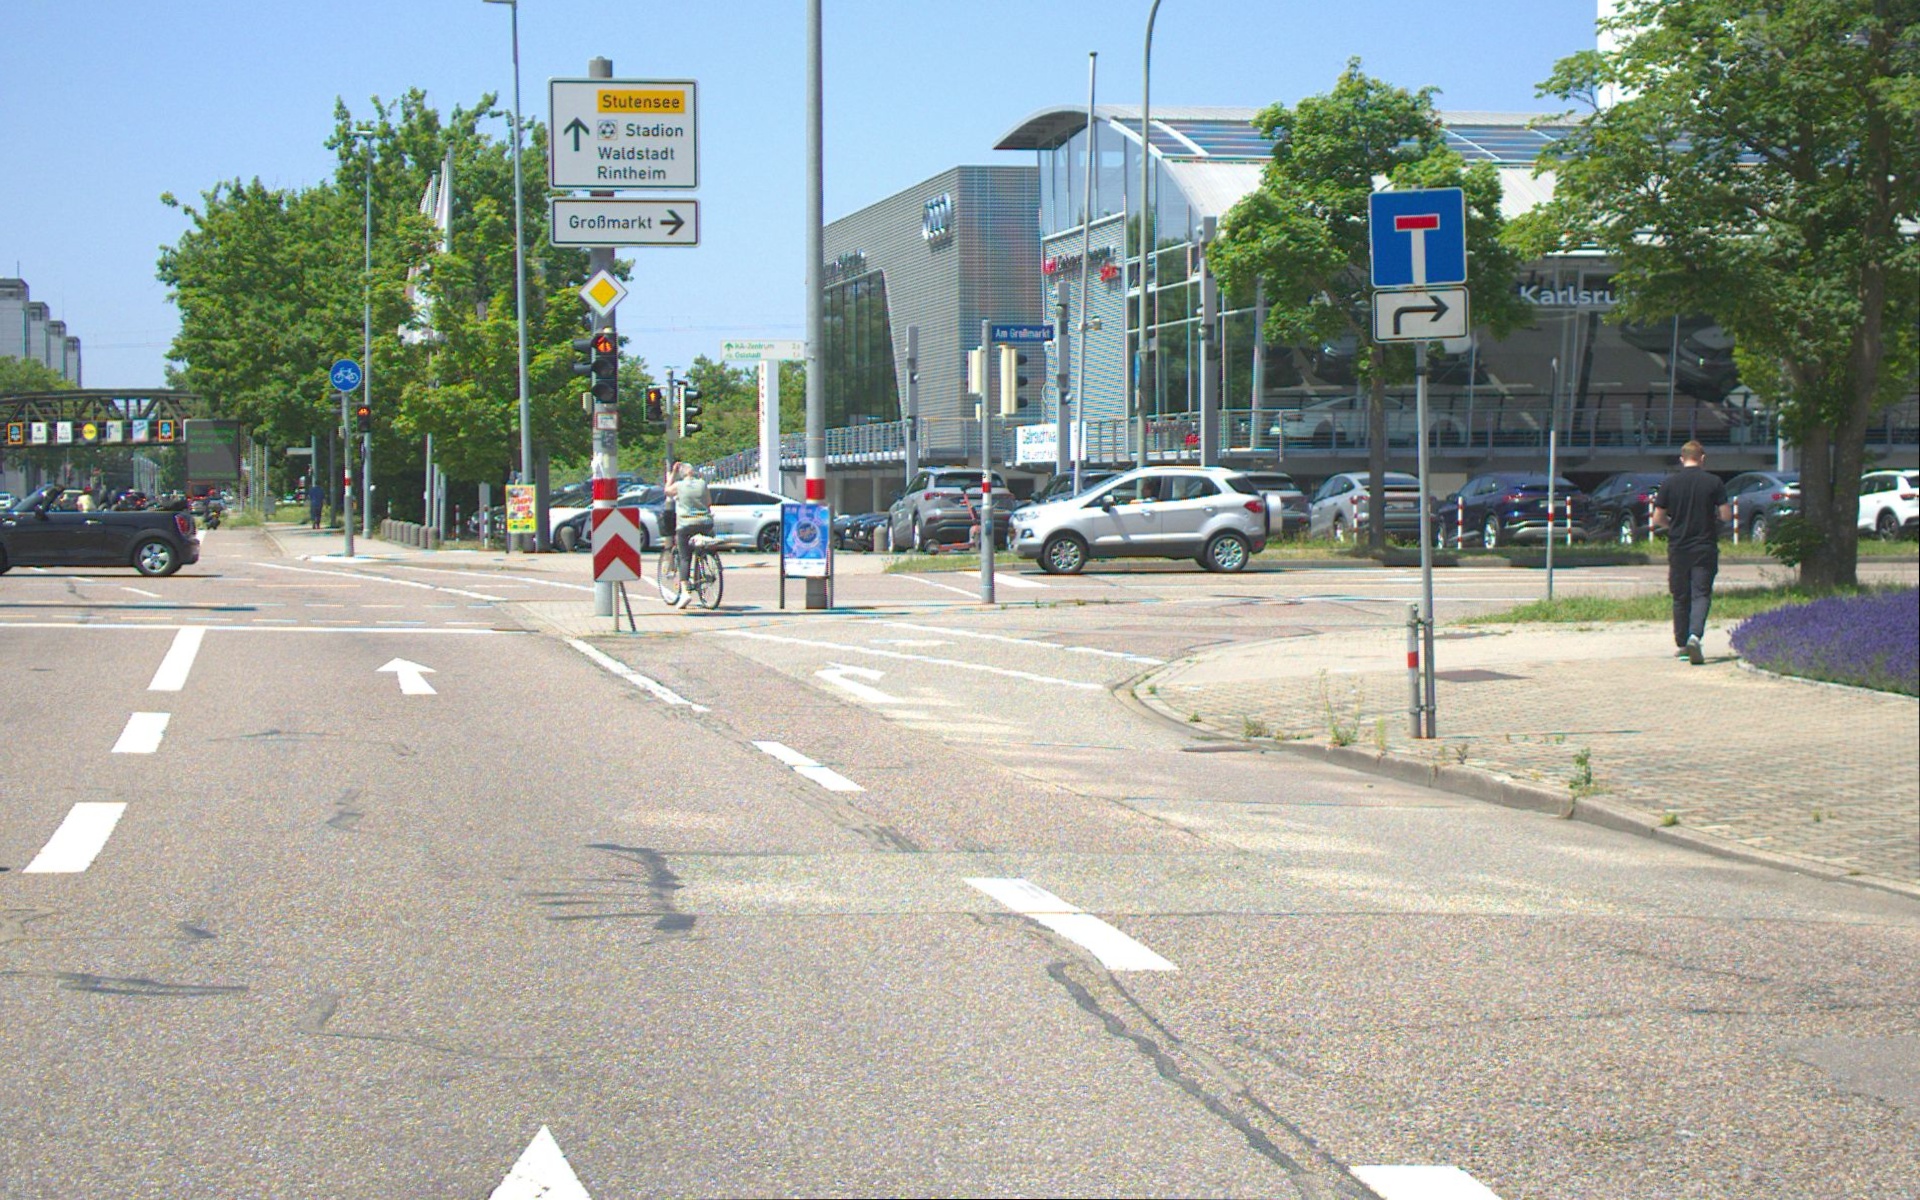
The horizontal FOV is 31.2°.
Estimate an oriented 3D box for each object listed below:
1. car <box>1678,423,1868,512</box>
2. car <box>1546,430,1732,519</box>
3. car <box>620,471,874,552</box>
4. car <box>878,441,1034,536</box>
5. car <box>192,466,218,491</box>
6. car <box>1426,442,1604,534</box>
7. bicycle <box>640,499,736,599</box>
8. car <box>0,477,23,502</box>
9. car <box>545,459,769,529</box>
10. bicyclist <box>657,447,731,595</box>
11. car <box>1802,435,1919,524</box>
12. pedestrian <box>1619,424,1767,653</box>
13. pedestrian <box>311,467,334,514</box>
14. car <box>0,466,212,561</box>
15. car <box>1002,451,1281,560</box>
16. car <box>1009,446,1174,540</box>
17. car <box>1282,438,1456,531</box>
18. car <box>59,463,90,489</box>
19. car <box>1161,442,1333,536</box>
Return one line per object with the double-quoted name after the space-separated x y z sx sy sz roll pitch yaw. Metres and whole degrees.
15.735 -2.612 66.762 1.827 1.634 4.476 -2 3 -12 "car"
13.018 -2.447 66.160 1.827 1.634 4.476 -1 3 -13 "car"
-4.170 -1.739 66.955 4.740 1.452 2.001 -1 3 -10 "car"
-0.108 -2.078 63.208 1.993 1.634 4.270 -1 3 -12 "car"
-54.419 -8.756 247.946 1.771 1.722 4.002 -2 2 -12 "car"
10.532 -2.173 65.536 1.827 1.634 4.476 -2 3 -12 "car"
-3.286 -0.629 41.340 0.786 1.123 1.921 0 3 -16 "bicycle"
-65.665 -7.581 236.513 1.926 1.659 4.090 -2 2 -9 "car"
-6.820 -2.400 77.215 4.740 1.452 2.001 -1 3 -13 "car"
-3.182 -0.951 41.114 0.733 1.743 0.754 0 3 -16 "bicyclist"
18.332 -2.382 67.283 1.827 1.634 4.476 -2 3 -12 "car"
6.073 -0.518 28.481 0.866 1.838 0.773 -4 3 -39 "pedestrian"
-20.368 -3.498 109.767 0.667 1.505 0.736 -1 2 -12 "pedestrian"
-12.920 -1.296 51.190 3.367 1.353 1.624 0 2 -8 "car"
2.791 -1.483 53.479 4.195 1.646 1.715 0 2 -1 "car"
2.406 -2.029 64.147 1.993 1.634 4.559 -1 3 -12 "car"
7.687 -2.225 65.063 1.885 1.634 4.527 -2 3 -12 "car"
-58.925 -8.239 228.727 1.771 1.722 4.002 -2 2 -12 "car"
5.342 -2.119 64.638 1.993 1.634 4.443 -2 3 -12 "car"
